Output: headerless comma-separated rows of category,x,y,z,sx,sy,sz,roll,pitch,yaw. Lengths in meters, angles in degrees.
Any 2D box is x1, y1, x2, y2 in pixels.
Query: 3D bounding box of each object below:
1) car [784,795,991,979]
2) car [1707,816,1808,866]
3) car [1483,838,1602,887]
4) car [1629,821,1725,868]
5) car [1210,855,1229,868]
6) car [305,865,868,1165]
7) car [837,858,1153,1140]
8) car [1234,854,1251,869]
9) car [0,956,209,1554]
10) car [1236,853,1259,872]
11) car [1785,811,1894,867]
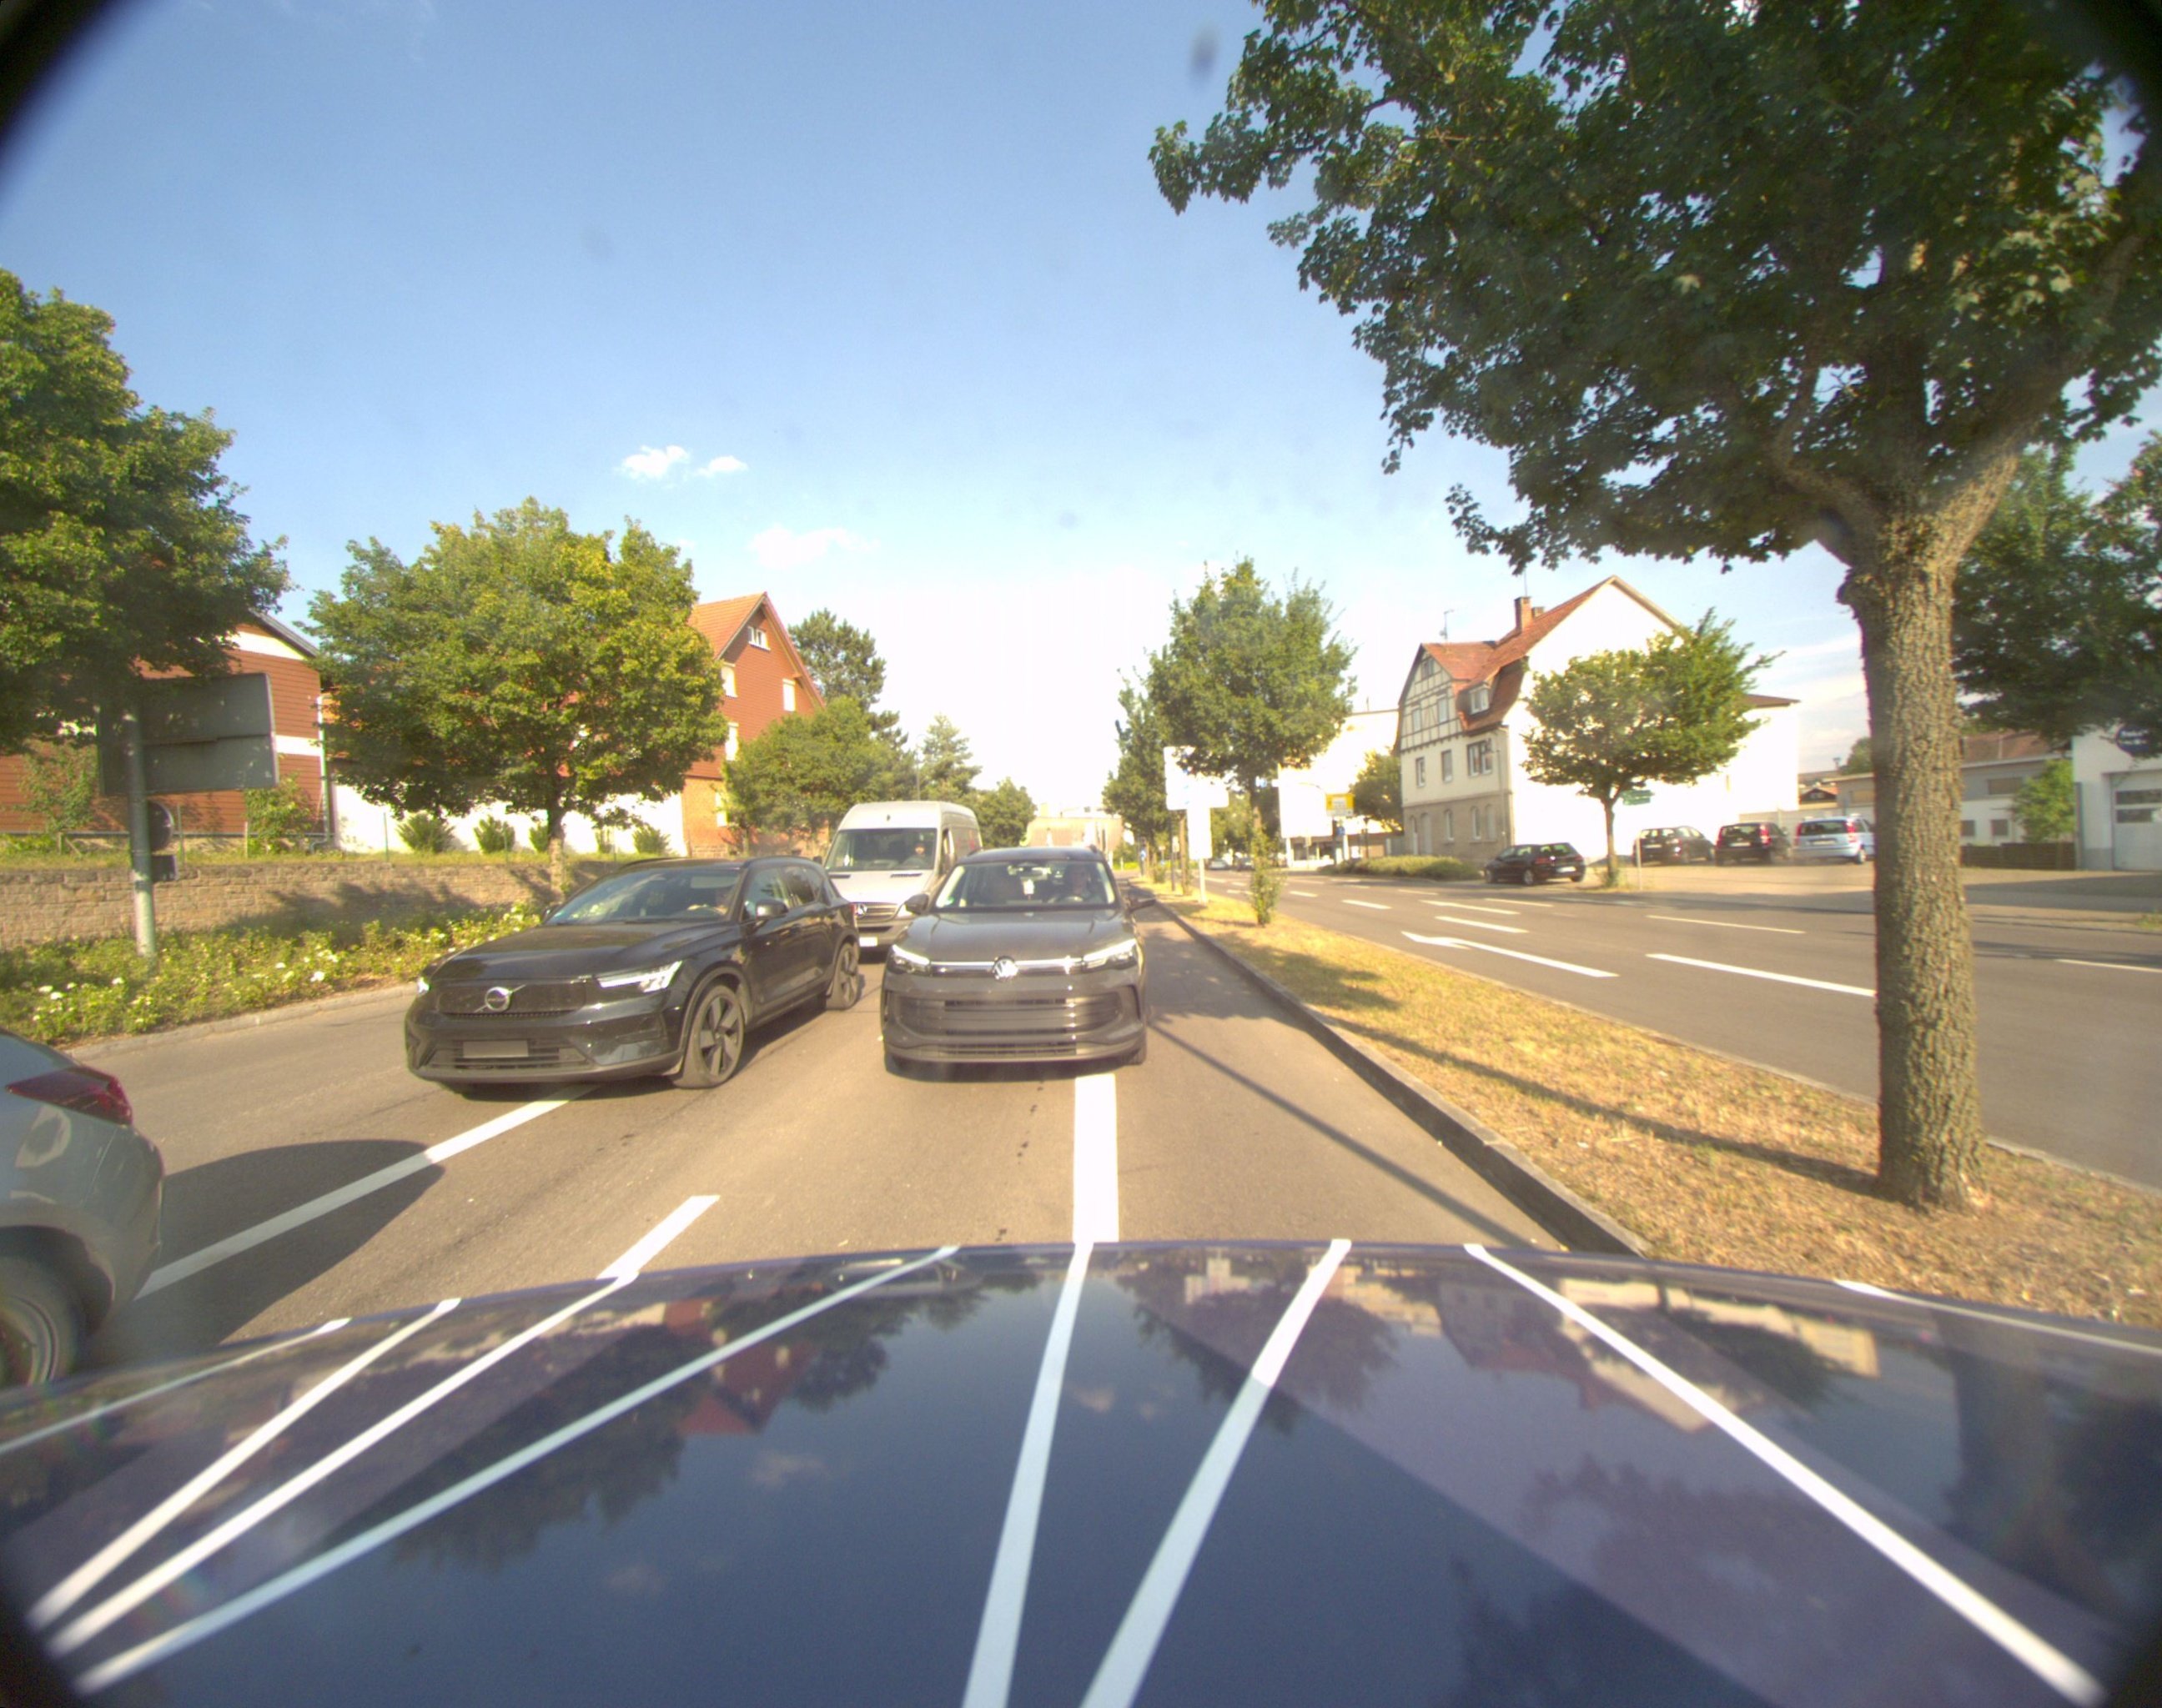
car,-3.069,0.451,13.680,1.992,2.554,6.046,-1,0,2
car,24.661,-0.495,27.670,3.830,1.493,1.816,-5,0,-35
car,16.037,0.276,26.632,1.818,1.442,3.825,-5,0,1
car,23.383,-0.397,29.766,3.830,1.493,1.816,-5,0,-35
car,17.231,0.921,94.236,1.779,1.460,4.379,-2,0,17
car,-3.396,0.946,6.444,1.845,1.600,4.318,-1,0,2
car,-0.448,0.872,6.632,1.845,1.600,4.318,-1,0,2
car,19.991,0.899,93.757,1.779,1.683,4.004,-2,0,15
car,-3.610,1.060,0.196,1.766,1.445,4.318,-1,0,0
car,16.327,0.815,74.454,1.780,1.683,4.002,-2,0,7
car,24.883,-0.508,24.904,3.830,1.493,1.816,-5,0,-35
